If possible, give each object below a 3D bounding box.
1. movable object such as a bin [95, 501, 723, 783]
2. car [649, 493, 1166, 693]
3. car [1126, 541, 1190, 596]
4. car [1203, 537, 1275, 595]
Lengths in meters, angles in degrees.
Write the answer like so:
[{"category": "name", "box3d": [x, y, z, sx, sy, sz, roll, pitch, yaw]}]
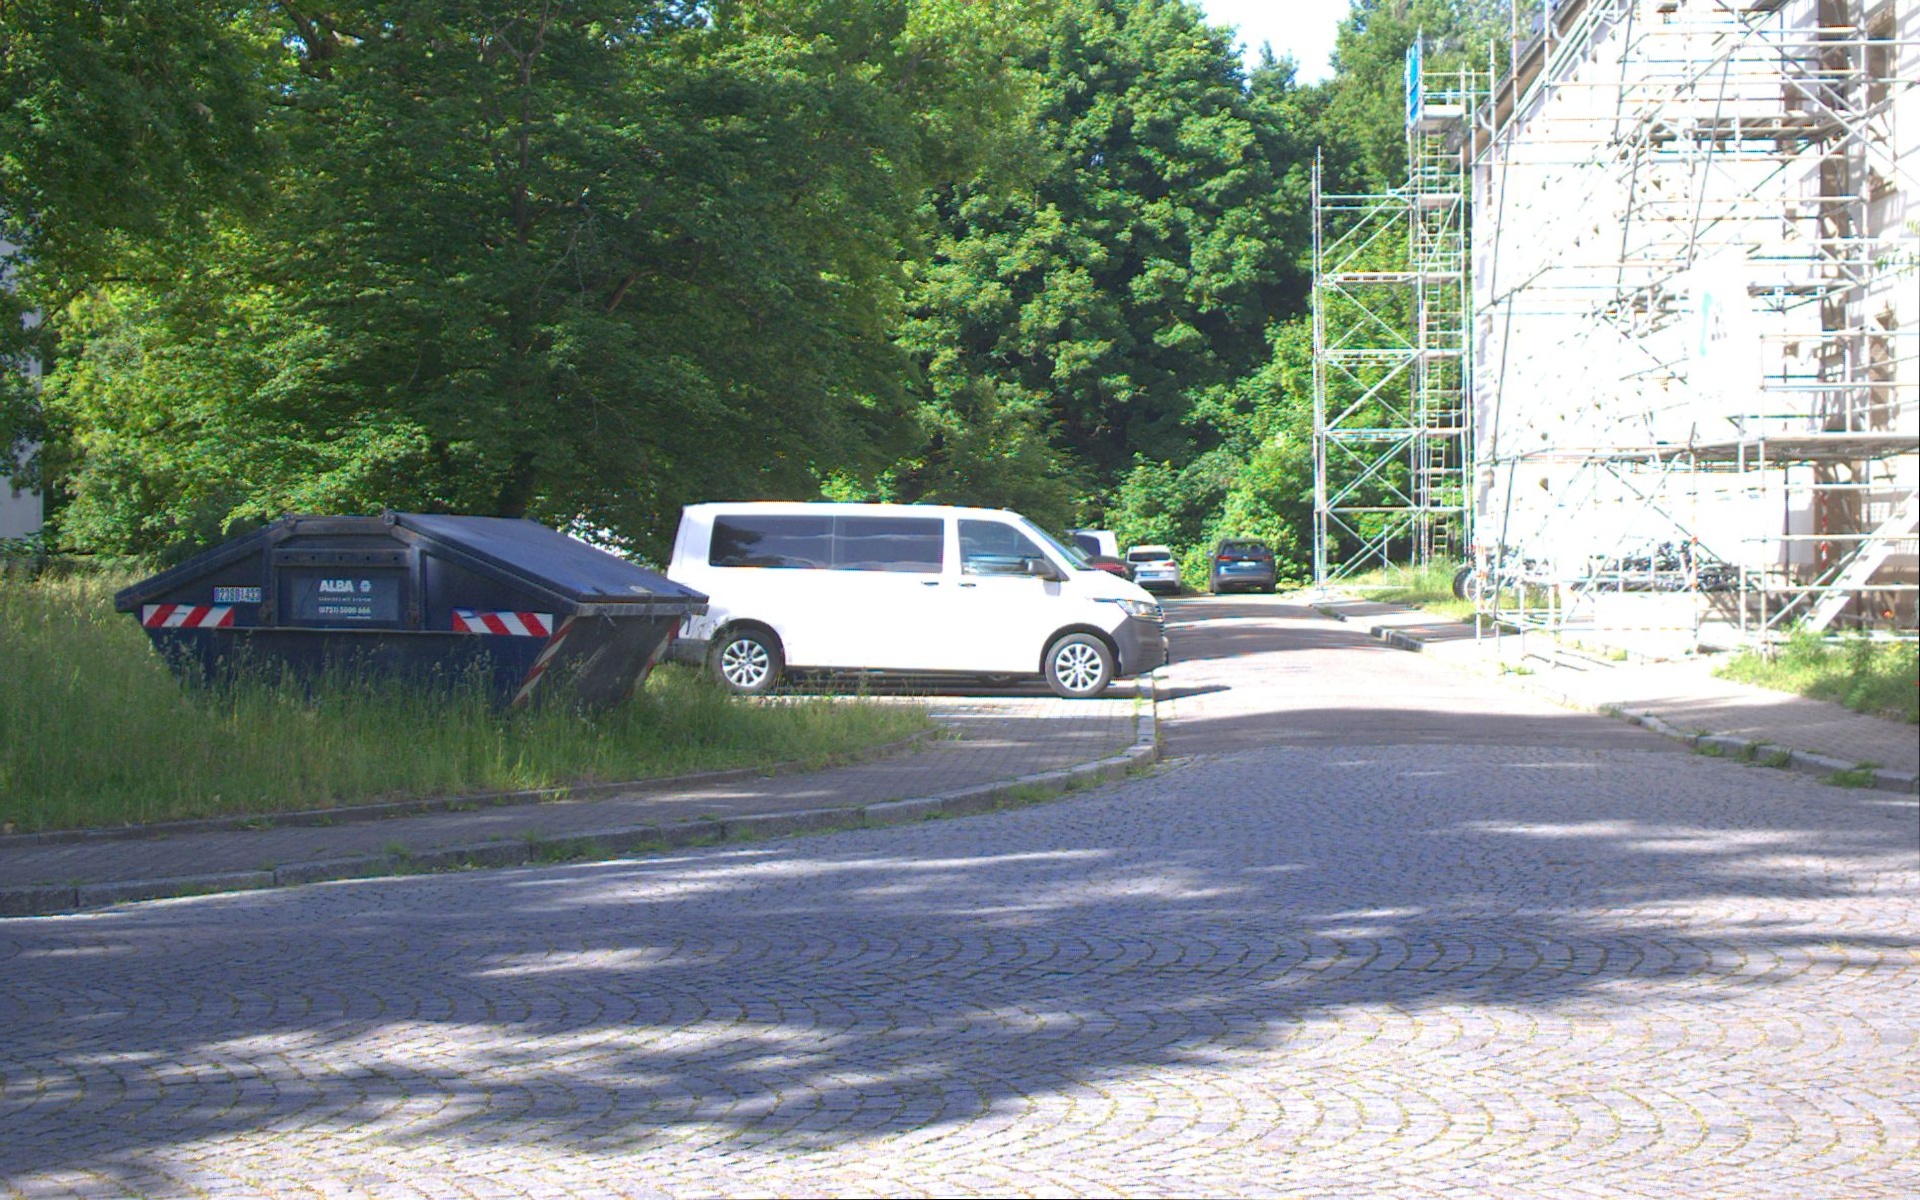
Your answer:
[{"category": "movable object such as a bin", "box3d": [-3.636, 0.254, 22.837, 3.569, 1.738, 2.022, 0, 1, 22]}, {"category": "car", "box3d": [-0.494, -0.084, 35.762, 5.235, 2.009, 1.950, 0, 1, 3]}, {"category": "car", "box3d": [5.818, -0.935, 101.501, 1.812, 1.574, 4.134, -1, 1, 3]}, {"category": "car", "box3d": [8.234, -1.015, 101.654, 1.971, 1.662, 4.086, -1, 1, 3]}]
